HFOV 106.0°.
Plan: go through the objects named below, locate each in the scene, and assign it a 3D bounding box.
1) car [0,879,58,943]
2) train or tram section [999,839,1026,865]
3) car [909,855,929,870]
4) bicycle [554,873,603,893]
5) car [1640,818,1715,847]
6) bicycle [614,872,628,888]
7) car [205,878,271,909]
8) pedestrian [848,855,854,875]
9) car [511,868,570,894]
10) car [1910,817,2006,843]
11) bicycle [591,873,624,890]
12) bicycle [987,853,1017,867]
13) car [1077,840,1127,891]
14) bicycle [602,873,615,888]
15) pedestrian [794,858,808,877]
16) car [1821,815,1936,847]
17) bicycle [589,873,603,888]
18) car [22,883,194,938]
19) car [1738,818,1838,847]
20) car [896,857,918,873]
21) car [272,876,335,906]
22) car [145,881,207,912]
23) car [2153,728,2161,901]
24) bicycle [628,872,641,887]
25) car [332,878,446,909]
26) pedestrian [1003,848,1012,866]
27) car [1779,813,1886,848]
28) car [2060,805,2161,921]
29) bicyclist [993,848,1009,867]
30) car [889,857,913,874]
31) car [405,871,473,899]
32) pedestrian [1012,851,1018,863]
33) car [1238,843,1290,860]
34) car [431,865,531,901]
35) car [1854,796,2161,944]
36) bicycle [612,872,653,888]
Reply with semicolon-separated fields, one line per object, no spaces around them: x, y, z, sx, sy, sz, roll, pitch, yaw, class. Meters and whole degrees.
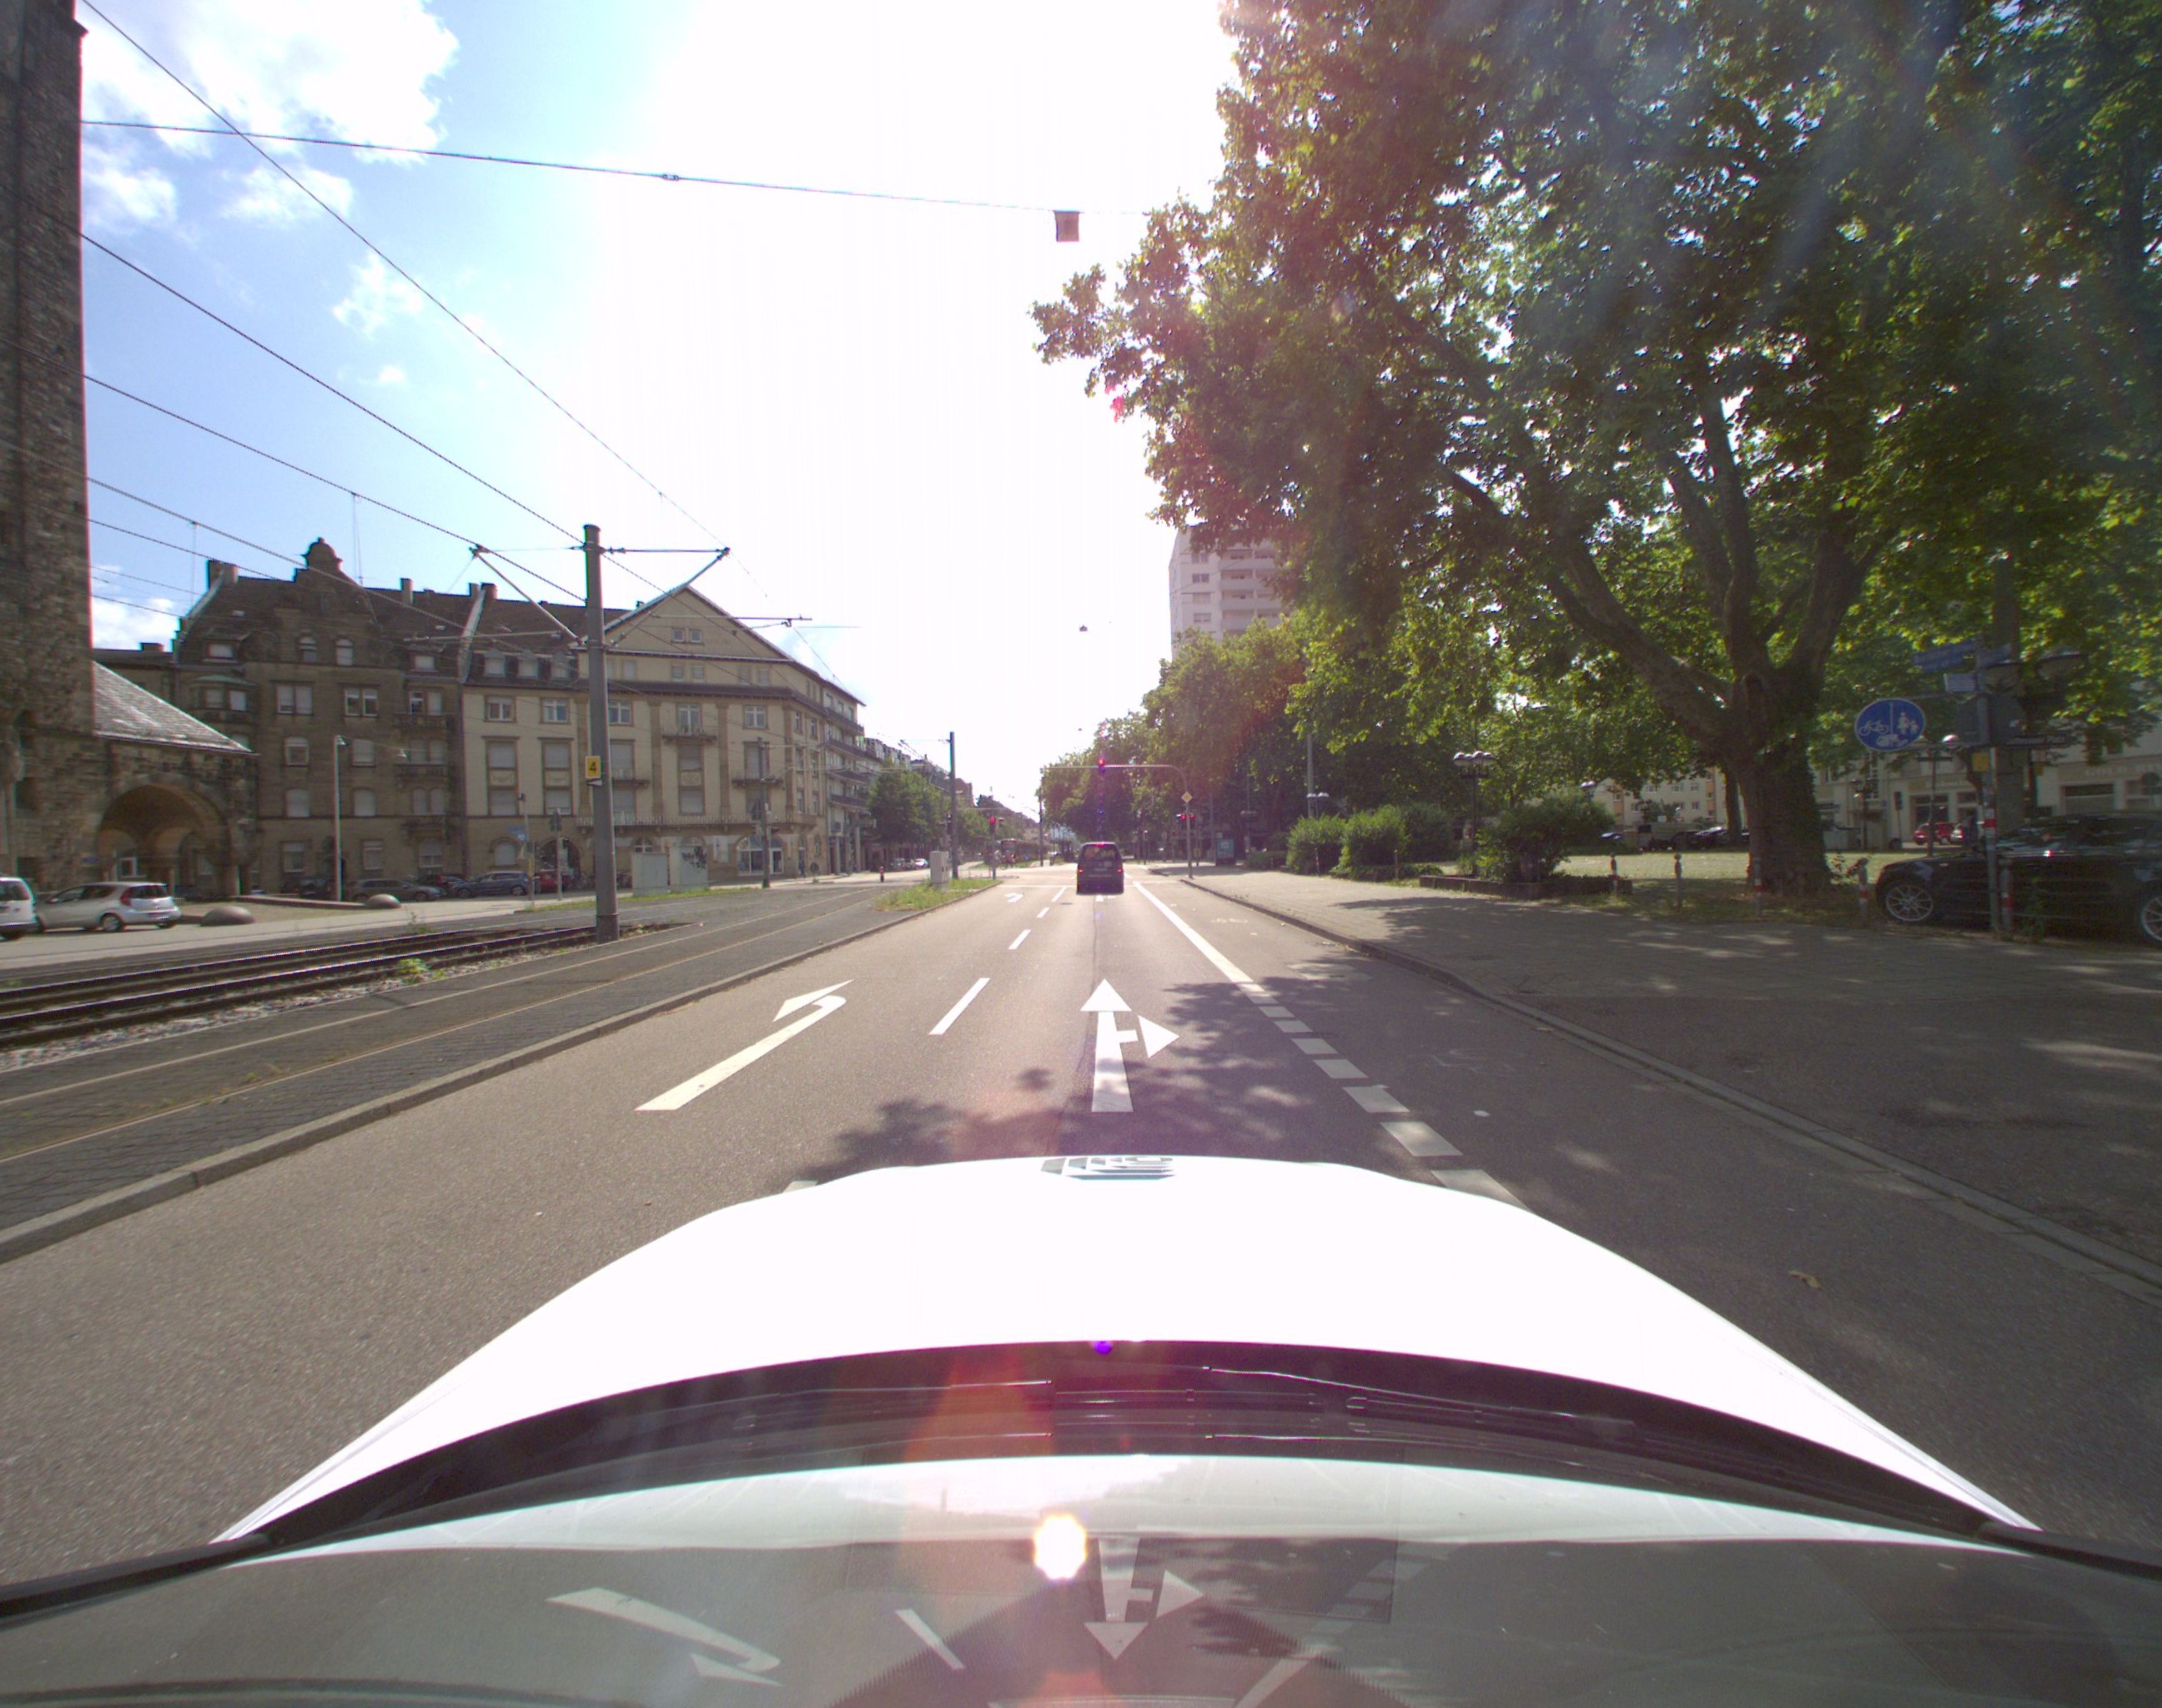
-32.345;1.695;23.180;3.860;1.748;1.894;-2;0;-2;car
-9.522;-0.329;114.872;2.232;3.331;12.976;-2;0;2;train or tram section
-23.856;1.248;120.320;1.986;2.013;4.001;-2;0;1;car
-36.242;2.103;58.757;3.284;1.253;1.003;-2;0;17;bicycle
47.055;-1.678;64.306;4.397;2.013;2.078;-2;0;2;car
-34.296;1.933;60.765;0.808;1.053;2.543;-2;0;-28;bicycle
-52.874;2.476;51.086;3.948;1.737;2.013;-2;0;31;car
-23.170;1.112;82.100;0.476;2.013;0.419;-2;0;-4;pedestrian
-38.300;1.897;57.702;3.948;1.674;2.013;-2;0;33;car
58.869;-1.611;54.716;4.239;1.521;1.987;-2;0;1;car
-33.856;1.930;58.203;1.985;1.114;0.482;-3;0;-36;bicycle
-6.632;0.500;68.622;2.283;1.048;0.901;-2;0;17;bicycle
0.804;0.398;30.880;1.744;1.808;3.476;-1;0;1;car
-35.047;1.947;60.417;0.744;1.053;2.543;-2;0;-28;bicycle
-23.785;1.166;69.224;0.687;1.595;0.864;-2;0;8;pedestrian
48.138;-1.359;49.259;4.661;1.706;2.193;-2;0;3;car
-35.979;1.965;60.393;0.744;1.053;2.343;-2;0;-28;bicycle
-31.504;1.795;26.455;3.255;1.502;1.854;-2;0;-1;car
47.208;-1.394;54.485;4.661;1.706;2.193;-2;0;3;car
-23.851;1.486;111.810;1.986;2.013;4.001;-2;0;1;car
-49.968;2.368;52.349;3.948;1.759;1.899;-2;0;31;car
-55.440;2.600;49.882;3.948;1.727;1.800;-2;0;31;car
17.001;-0.597;9.153;2.103;2.582;6.024;-2;0;3;car
-33.533;1.918;61.169;0.808;1.053;2.543;-2;0;-28;bicycle
-39.208;2.238;46.252;4.575;1.436;1.694;-2;0;-23;car
-7.301;0.299;80.904;0.657;1.784;0.661;-2;0;1;pedestrian
47.620;-1.470;51.714;4.661;1.929;2.193;-2;0;3;car
14.205;0.084;9.070;1.645;1.429;4.039;-2;0;-2;car
-6.735;0.273;68.642;0.990;1.511;0.784;-2;0;17;bicyclist
-23.588;1.496;106.835;1.986;2.013;4.001;-2;0;1;car
-43.528;2.114;55.239;3.950;1.673;2.012;-2;0;25;car
-6.591;0.312;81.282;0.462;1.144;0.435;-2;0;1;pedestrian
16.817;-0.227;74.955;4.500;1.390;1.694;-2;0;-23;car
-38.801;1.854;52.846;4.813;2.013;1.984;-3;0;-25;car
11.530;0.113;9.252;1.643;1.470;4.042;-2;0;0;car
-32.813;1.909;59.609;2.572;1.053;0.676;-2;0;-27;bicycle
